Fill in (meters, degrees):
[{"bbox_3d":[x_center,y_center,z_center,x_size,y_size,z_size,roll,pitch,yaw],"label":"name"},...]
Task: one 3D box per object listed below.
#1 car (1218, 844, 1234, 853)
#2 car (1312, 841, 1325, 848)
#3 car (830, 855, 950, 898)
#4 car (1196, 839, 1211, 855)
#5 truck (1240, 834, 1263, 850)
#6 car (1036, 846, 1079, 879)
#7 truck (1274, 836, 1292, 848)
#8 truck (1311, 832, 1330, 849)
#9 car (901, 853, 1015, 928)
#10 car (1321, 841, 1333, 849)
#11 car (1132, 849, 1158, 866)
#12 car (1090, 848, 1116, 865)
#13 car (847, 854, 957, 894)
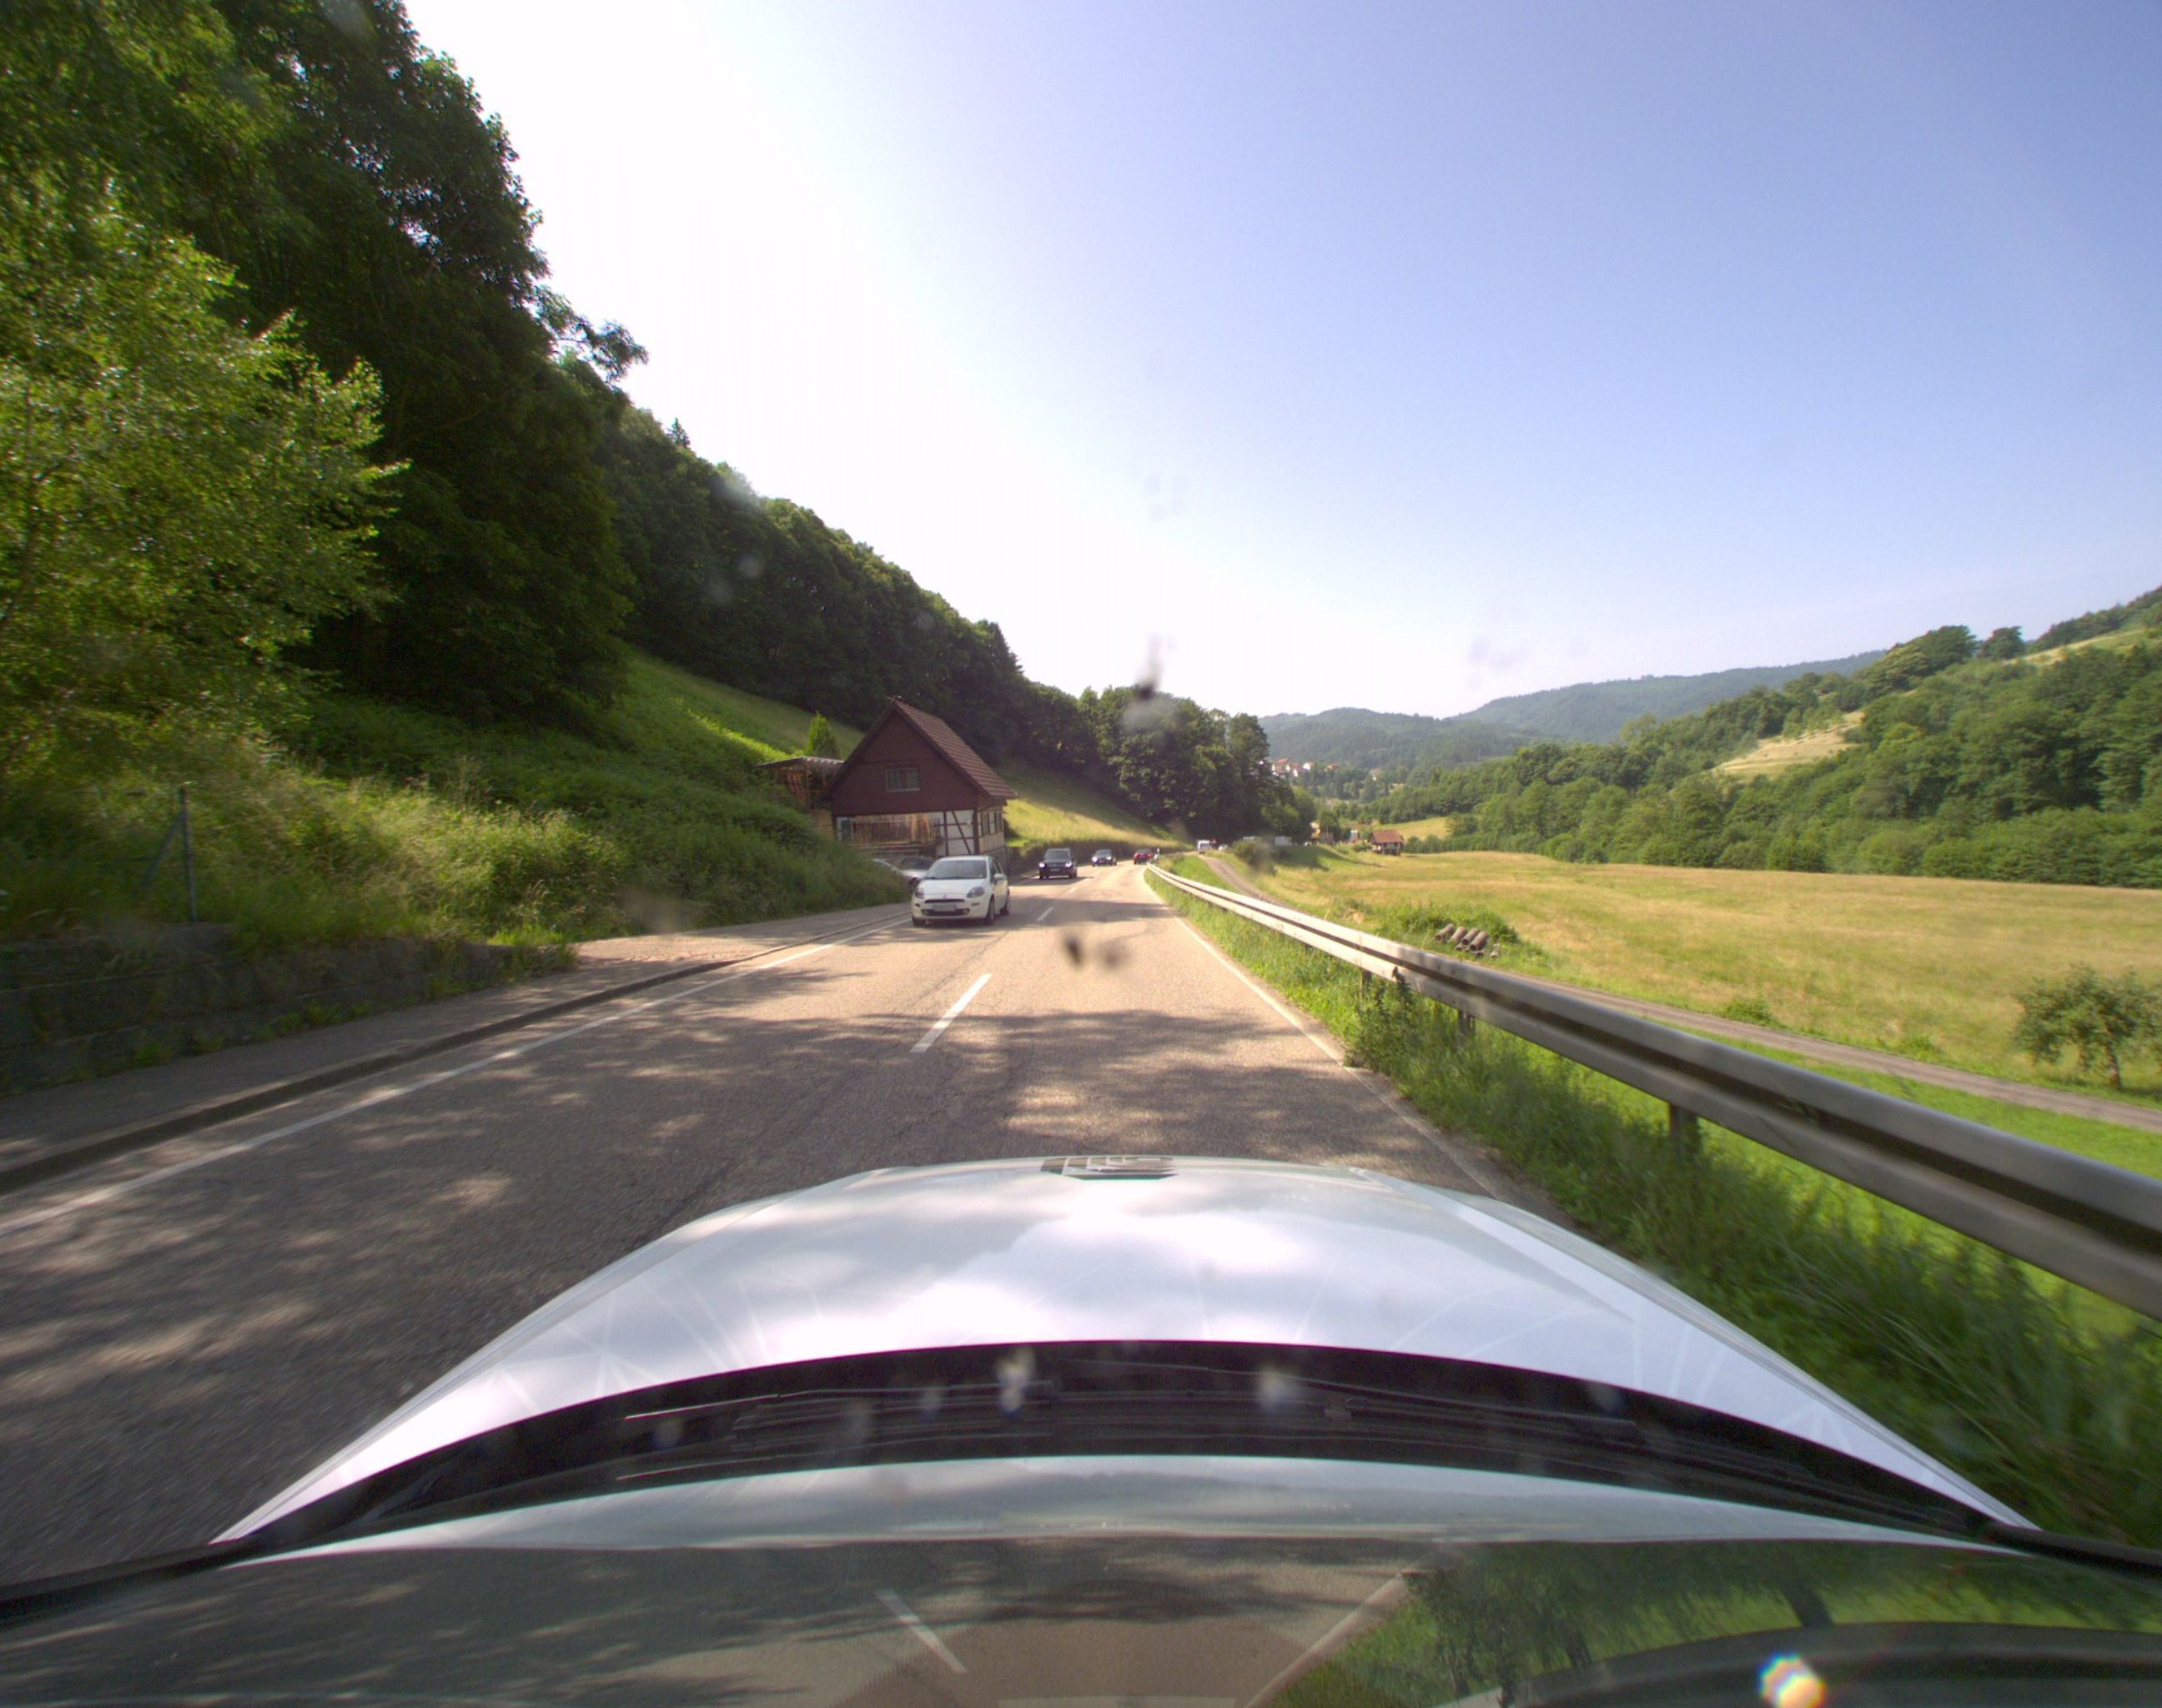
[{"bbox_3d":[26.640,-1.057,149.191,1.976,1.484,4.023,2,3,23],"label":"car"},{"bbox_3d":[59.787,-2.383,204.931,1.889,1.485,4.025,5,2,33],"label":"car"},{"bbox_3d":[-6.896,0.798,29.622,3.798,1.416,1.860,-1,1,5],"label":"car"},{"bbox_3d":[19.633,-1.132,130.248,1.980,2.352,4.931,0,2,12],"label":"car"},{"bbox_3d":[34.608,-2.421,165.173,2.765,2.997,6.909,2,3,27],"label":"truck"},{"bbox_3d":[-1.226,0.459,44.378,1.881,1.645,4.262,-2,0,4],"label":"car"},{"bbox_3d":[45.951,-2.695,185.011,2.216,2.804,6.271,1,0,30],"label":"truck"},{"bbox_3d":[66.122,-3.639,224.692,3.158,4.396,6.613,3,1,34],"label":"truck"},{"bbox_3d":[-2.646,0.749,18.370,1.771,1.437,4.002,-2,-1,2],"label":"car"},{"bbox_3d":[64.294,-2.257,212.873,1.974,1.925,4.025,3,1,34],"label":"car"},{"bbox_3d":[5.803,0.298,73.699,1.759,1.335,3.781,0,2,13],"label":"car"},{"bbox_3d":[1.928,0.196,71.290,1.755,1.396,4.155,-1,2,8],"label":"car"},{"bbox_3d":[-7.037,0.781,32.302,3.798,1.432,1.866,-1,1,5],"label":"car"}]
